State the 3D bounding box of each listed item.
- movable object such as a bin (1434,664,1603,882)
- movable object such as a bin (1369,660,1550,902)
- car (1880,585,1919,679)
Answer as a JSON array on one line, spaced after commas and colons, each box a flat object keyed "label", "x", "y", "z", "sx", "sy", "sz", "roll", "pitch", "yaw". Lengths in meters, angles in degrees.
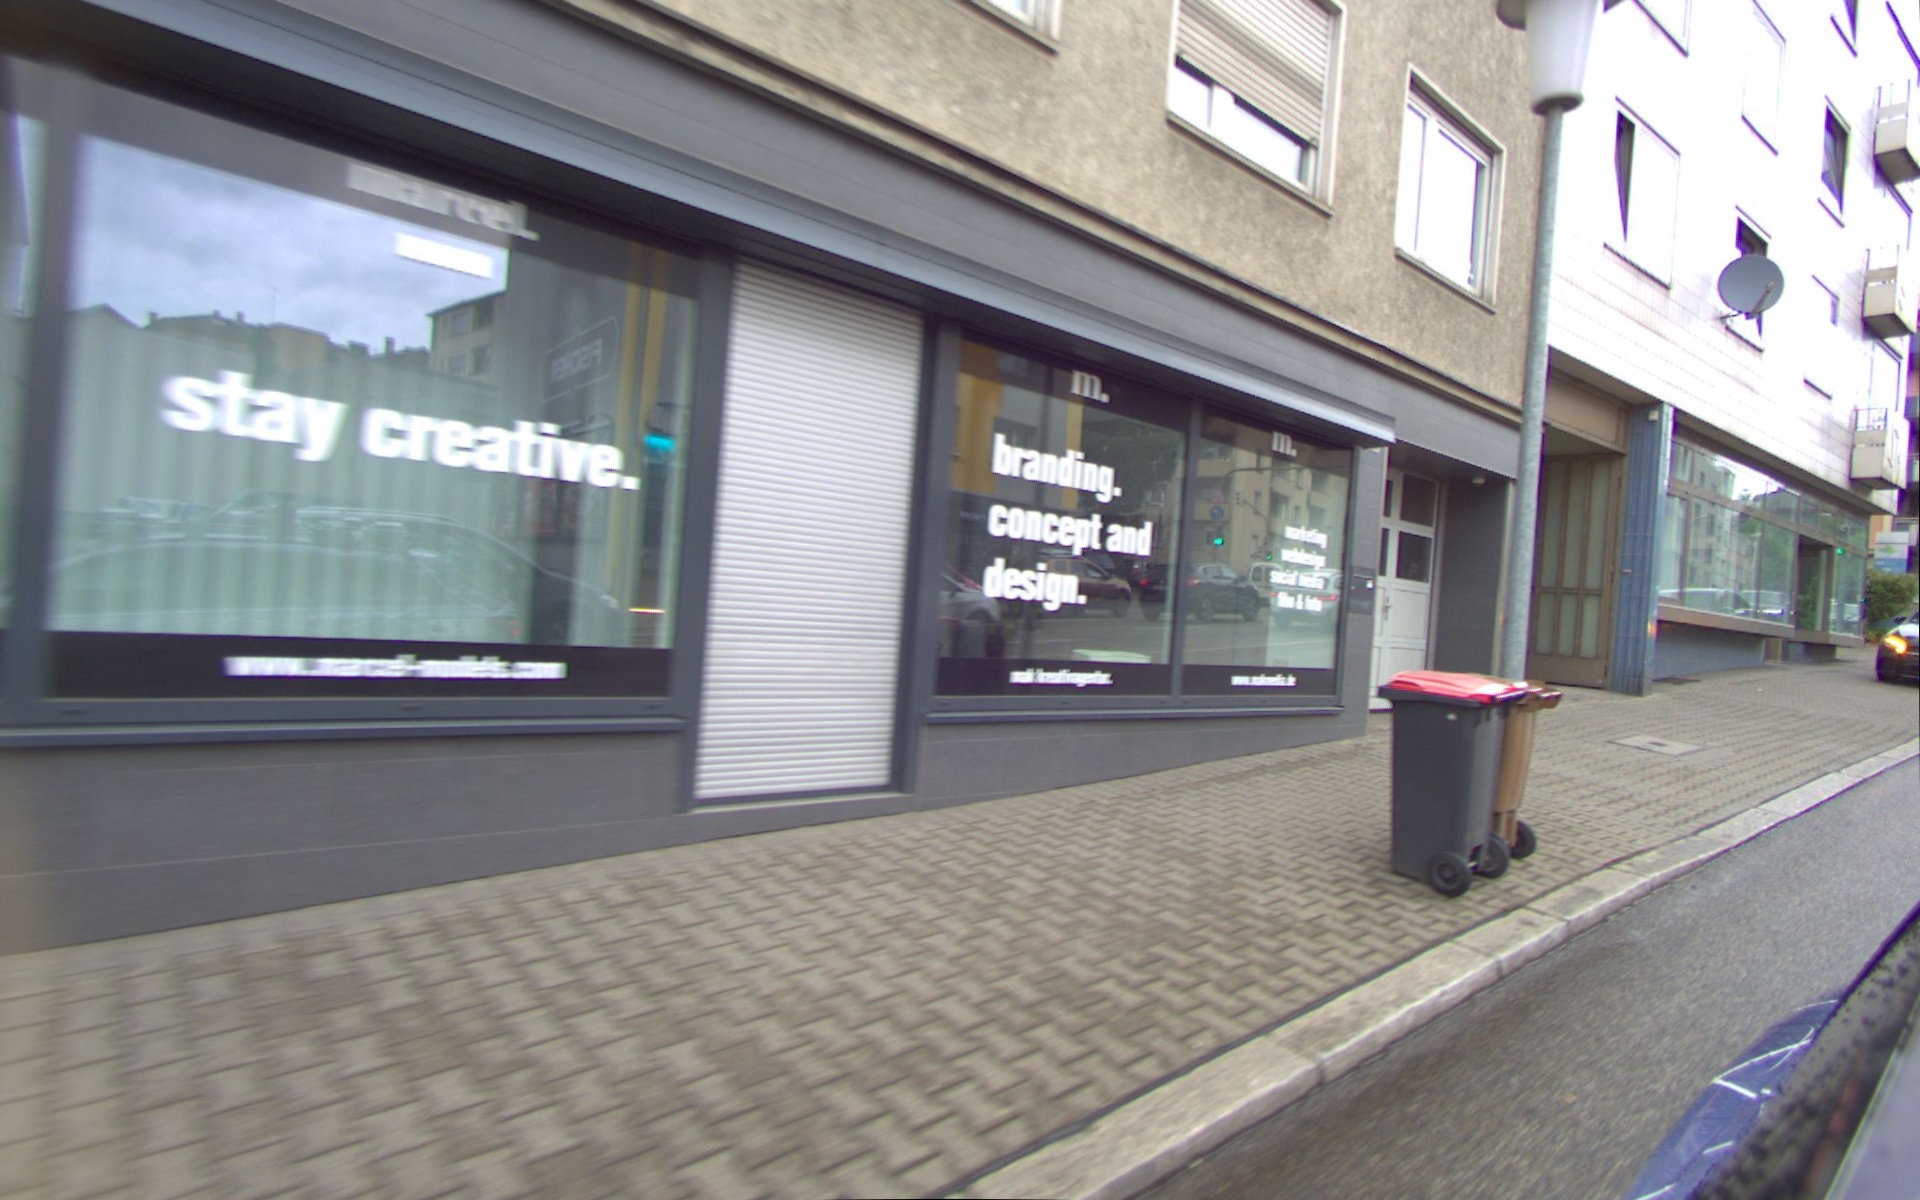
[{"label": "movable object such as a bin", "x": 2.781, "y": 0.834, "z": 5.047, "sx": 0.527, "sy": 0.962, "sz": 0.526, "roll": 6, "pitch": -2, "yaw": -37}, {"label": "movable object such as a bin", "x": 2.321, "y": 0.806, "z": 4.710, "sx": 0.527, "sy": 0.993, "sz": 0.526, "roll": 6, "pitch": -2, "yaw": -37}, {"label": "car", "x": 16.692, "y": 0.539, "z": 16.341, "sx": 4.296, "sy": 1.408, "sz": 1.771, "roll": 0, "pitch": 5, "yaw": -36}]
